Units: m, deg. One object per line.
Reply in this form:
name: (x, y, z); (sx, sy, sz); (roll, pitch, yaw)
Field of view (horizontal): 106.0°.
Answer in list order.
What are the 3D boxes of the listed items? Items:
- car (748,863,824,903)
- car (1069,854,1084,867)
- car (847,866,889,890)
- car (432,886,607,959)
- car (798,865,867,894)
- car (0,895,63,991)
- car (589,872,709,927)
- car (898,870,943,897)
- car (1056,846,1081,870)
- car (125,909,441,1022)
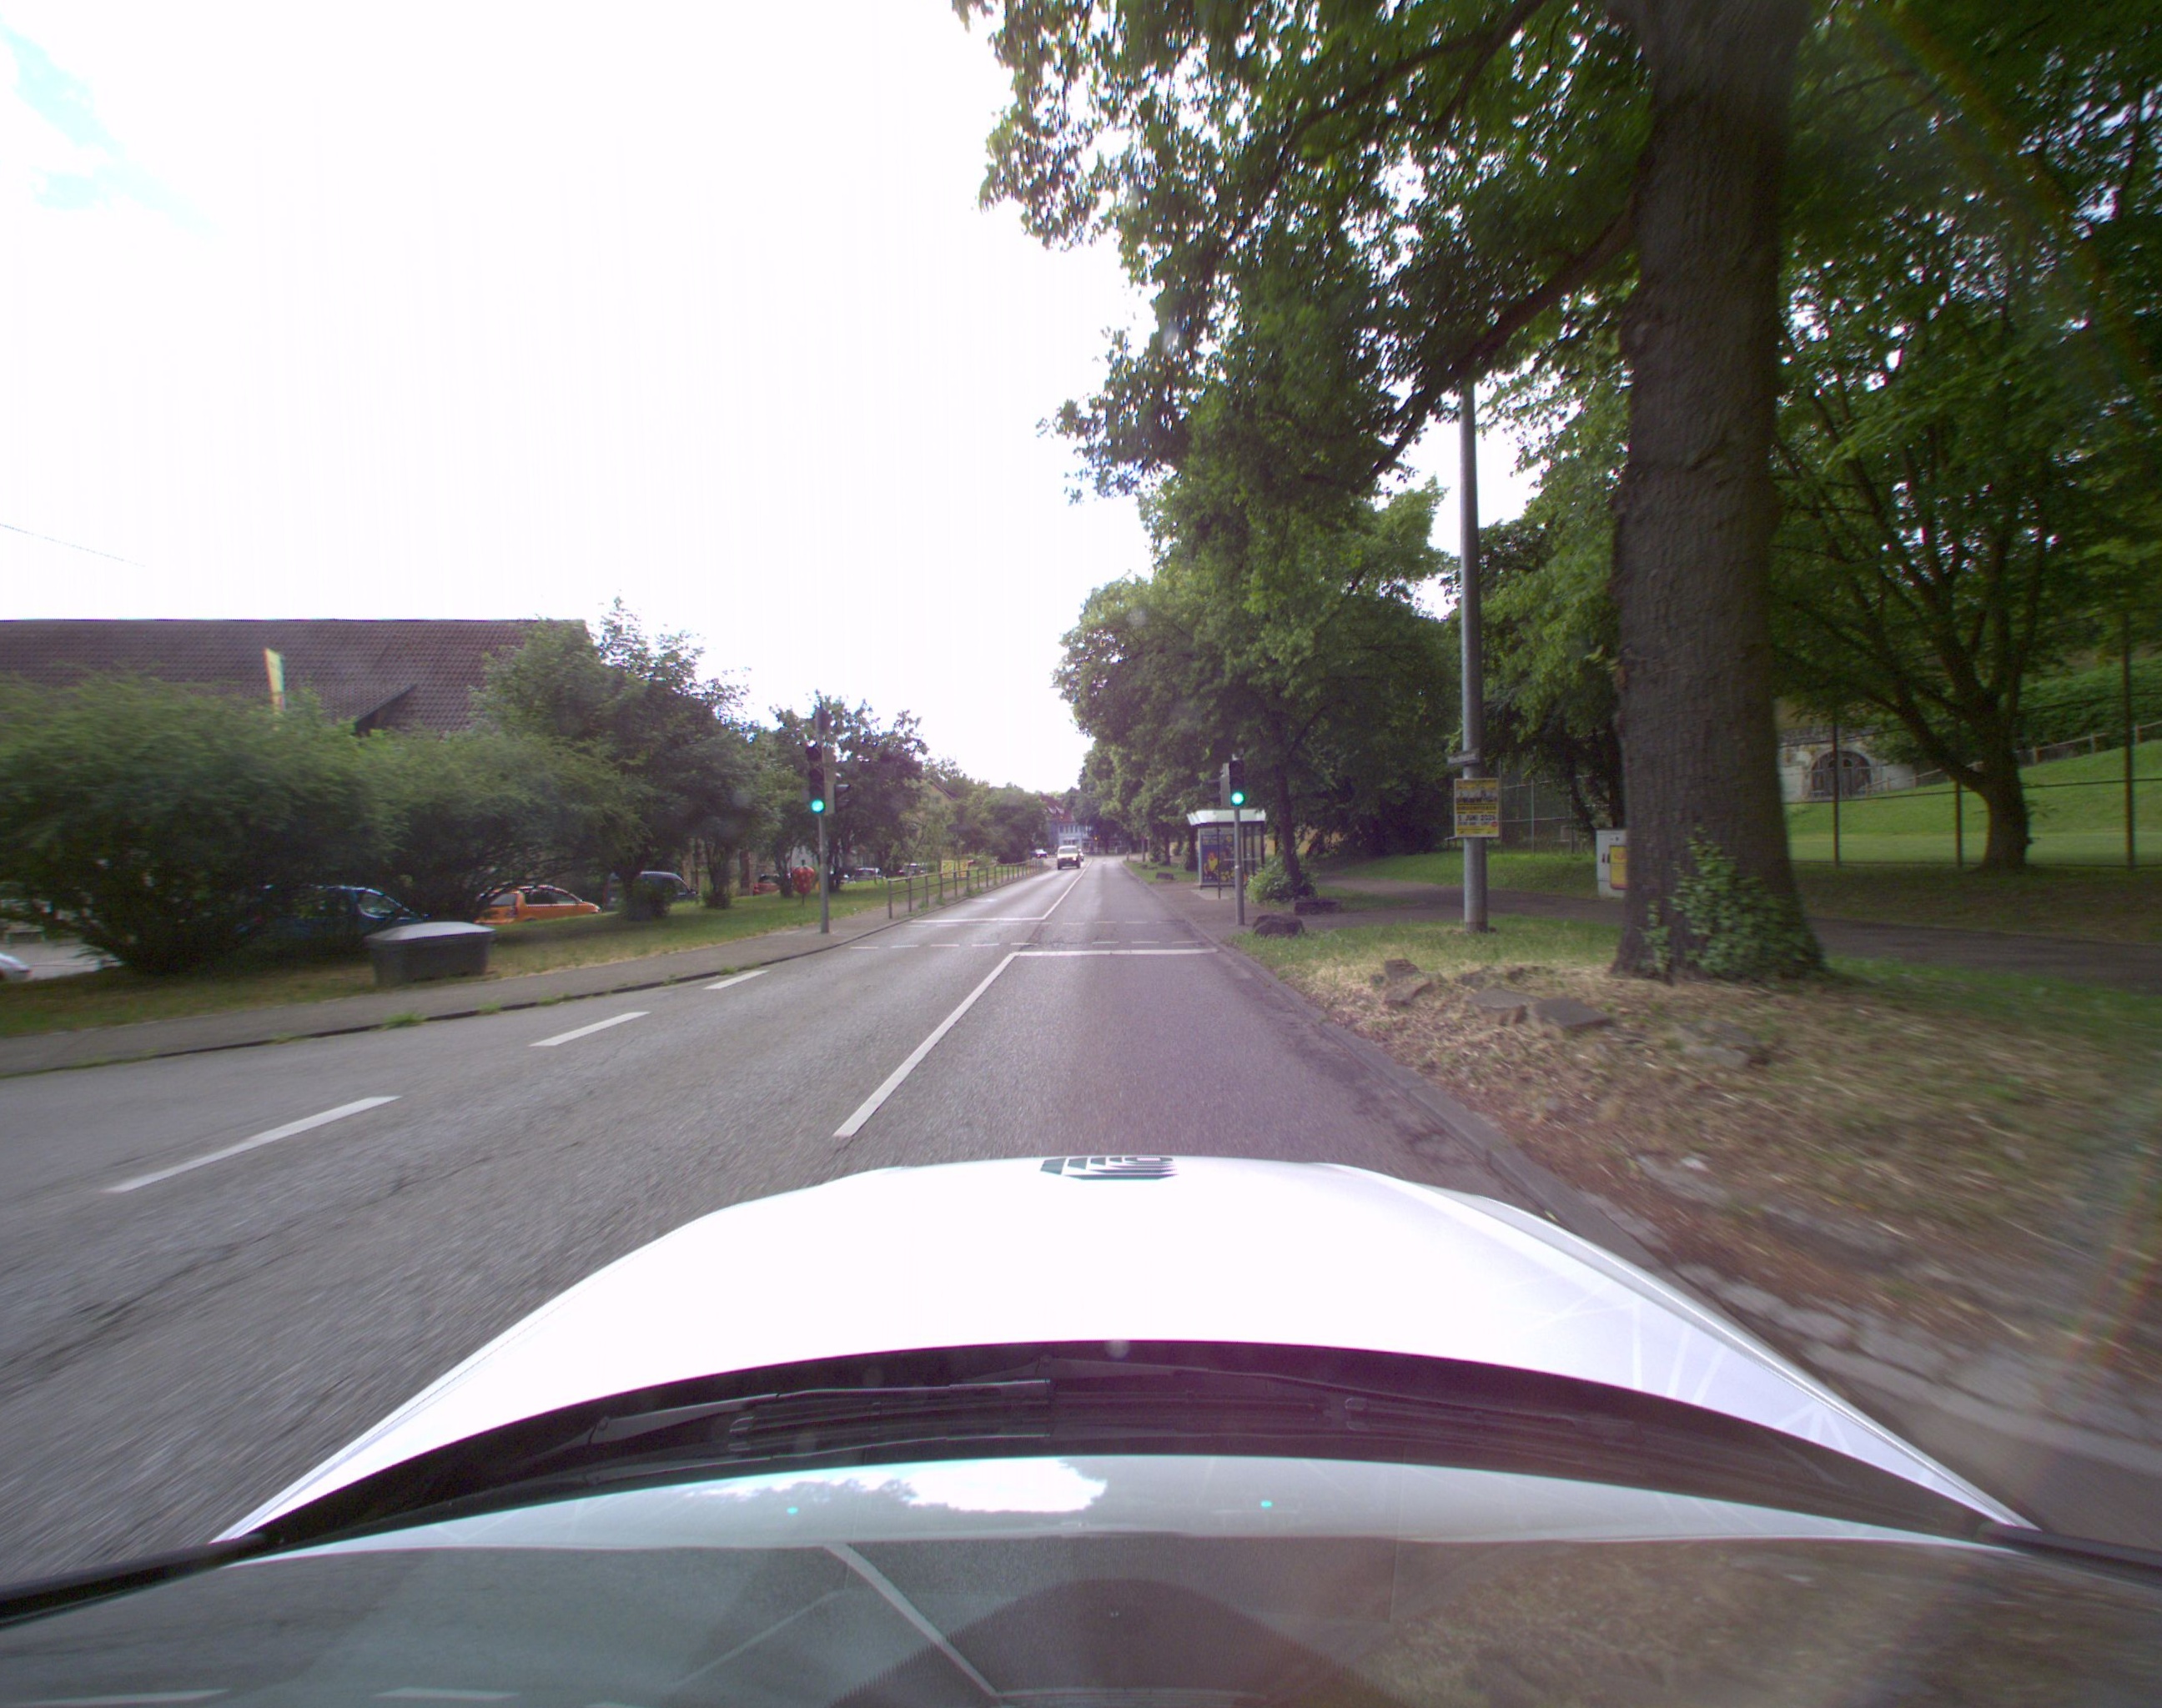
car: (-13.929, 1.328, 38.686); (1.803, 1.618, 4.005); (-3, 0, 4)
car: (-0.590, 0.796, 104.054); (1.698, 1.511, 4.002); (-3, 0, 2)
car: (-13.034, 1.459, 50.003); (1.544, 1.278, 2.559); (-3, 0, 7)
car: (-15.794, 1.880, 23.212); (1.939, 1.618, 4.005); (-3, 0, 4)
car: (-13.278, 1.334, 43.814); (1.983, 1.277, 4.008); (-3, 0, 7)
car: (-16.582, 1.370, 10.475); (1.639, 1.344, 4.153); (-3, 0, 1)
car: (-15.168, 1.547, 28.886); (1.803, 1.618, 4.005); (-3, 0, 4)
car: (-11.524, 2.106, 58.830); (1.910, 1.695, 4.008); (-3, 0, 7)
car: (-1.032, 0.318, 70.137); (1.839, 1.930, 4.771); (-1, 0, 1)
car: (-16.252, 2.182, 17.017); (1.985, 1.618, 4.452); (-3, 0, 4)
